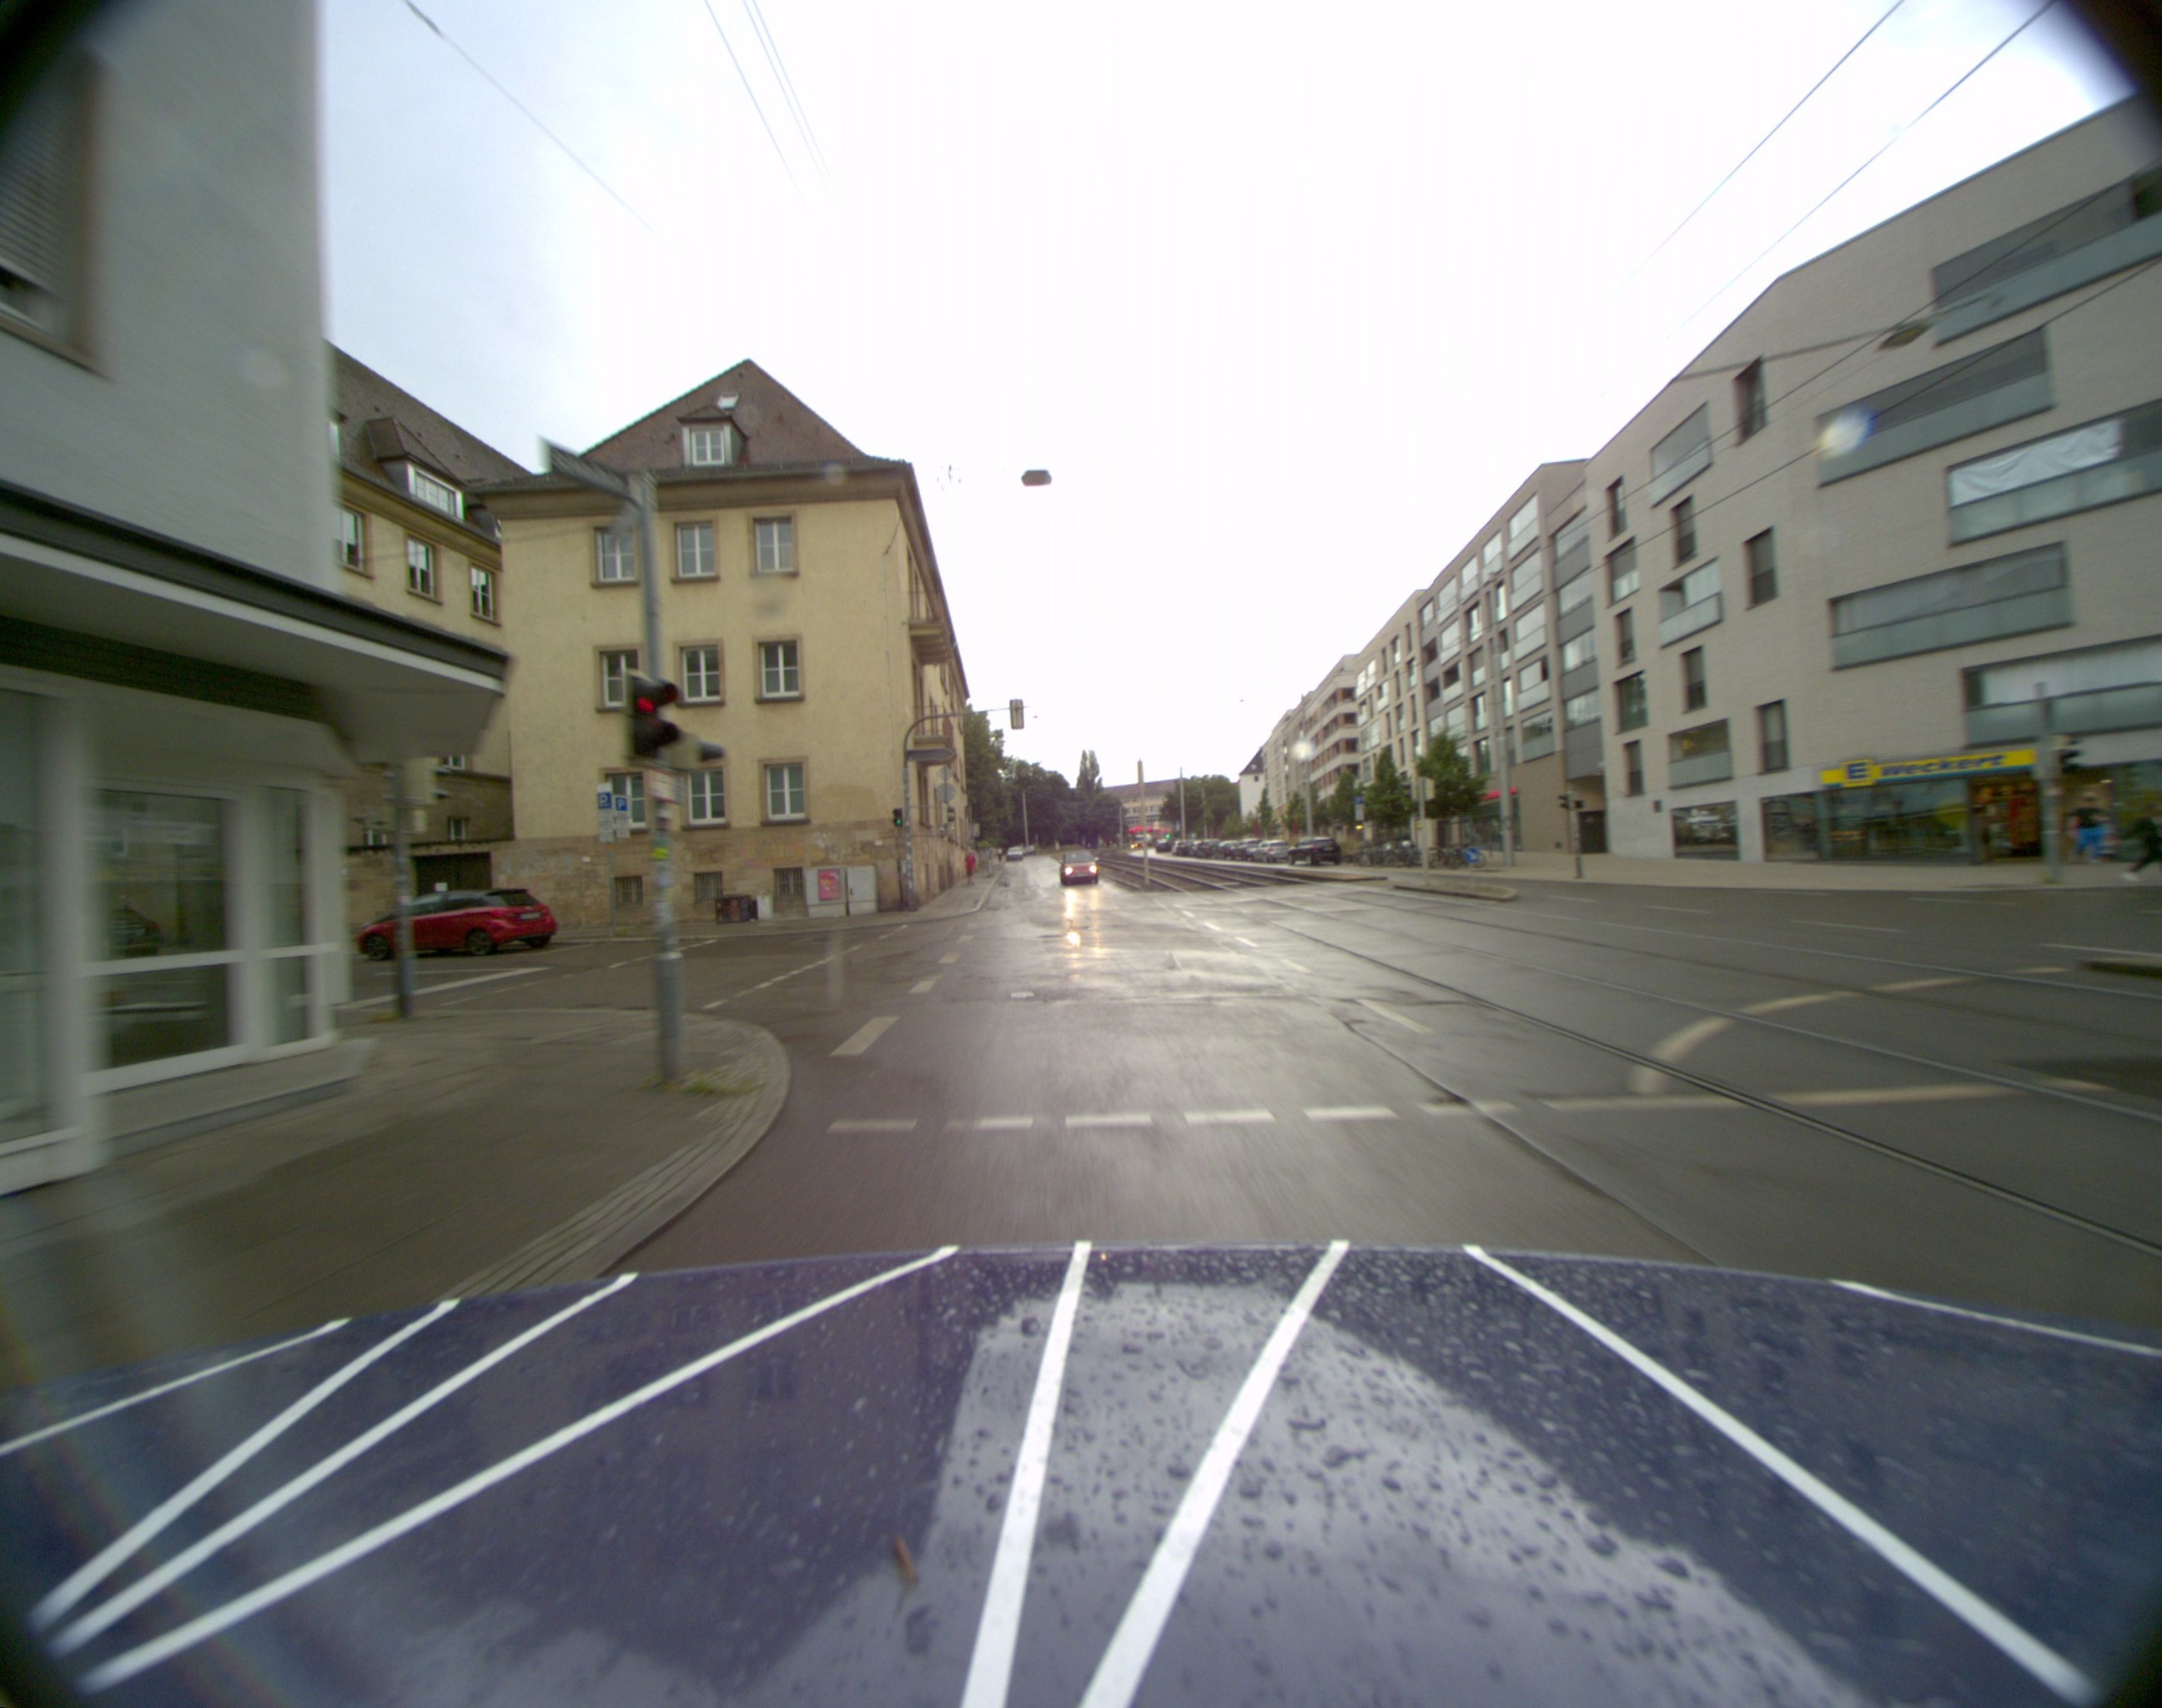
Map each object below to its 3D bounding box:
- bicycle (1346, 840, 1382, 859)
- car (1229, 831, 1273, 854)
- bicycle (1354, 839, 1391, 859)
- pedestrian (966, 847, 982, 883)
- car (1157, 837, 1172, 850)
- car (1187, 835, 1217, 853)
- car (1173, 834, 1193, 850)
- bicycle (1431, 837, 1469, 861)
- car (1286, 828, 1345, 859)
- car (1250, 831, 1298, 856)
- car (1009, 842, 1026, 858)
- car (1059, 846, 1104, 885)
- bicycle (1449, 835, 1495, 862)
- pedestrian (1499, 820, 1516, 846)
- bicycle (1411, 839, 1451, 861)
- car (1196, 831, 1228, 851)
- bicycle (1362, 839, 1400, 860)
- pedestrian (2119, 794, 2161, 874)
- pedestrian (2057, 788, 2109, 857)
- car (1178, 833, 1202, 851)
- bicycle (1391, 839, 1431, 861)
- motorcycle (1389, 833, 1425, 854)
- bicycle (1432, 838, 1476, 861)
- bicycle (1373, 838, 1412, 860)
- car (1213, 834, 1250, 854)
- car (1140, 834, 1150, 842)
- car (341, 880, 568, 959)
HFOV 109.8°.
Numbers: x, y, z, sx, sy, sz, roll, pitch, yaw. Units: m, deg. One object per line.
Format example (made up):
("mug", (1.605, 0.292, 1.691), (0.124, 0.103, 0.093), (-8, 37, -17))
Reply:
("bicycle", (14.927, -0.243, 40.135), (1.789, 0.913, 0.387), (-4, 3, -9))
("car", (12.407, -0.865, 55.714), (1.685, 1.521, 4.045), (-5, 2, -9))
("bicycle", (15.076, -0.250, 39.292), (1.789, 0.913, 0.387), (-4, 3, -9))
("pedestrian", (-5.356, 0.533, 38.046), (0.749, 1.754, 0.818), (0, 2, -5))
("car", (10.941, -1.416, 99.620), (1.654, 1.456, 3.669), (-5, 3, 4))
("car", (11.161, -0.980, 70.378), (1.685, 1.496, 3.925), (-5, 2, -5))
("car", (10.775, -1.305, 80.553), (1.650, 1.496, 3.779), (-4, 2, 1))
("bicycle", (16.691, -0.229, 34.320), (1.791, 0.913, 0.386), (-5, 3, -21))
("car", (13.531, -0.665, 44.136), (1.685, 1.595, 4.326), (-5, 2, -5))
("car", (12.812, -0.725, 50.782), (1.685, 1.456, 4.326), (-5, 2, -5))
("car", (-7.568, -0.516, 90.406), (1.726, 1.677, 3.863), (-6, 3, -5))
("car", (-0.029, 0.487, 35.202), (1.594, 1.456, 3.667), (-6, 3, -5))
("bicycle", (16.629, -0.249, 32.343), (1.789, 0.975, 0.440), (-5, 3, -9))
("pedestrian", (24.959, -1.222, 44.438), (0.540, 1.441, 0.803), (-5, 3, 8))
("bicycle", (16.260, -0.171, 35.280), (1.790, 0.912, 0.387), (-4, 2, -13))
("car", (11.257, -1.130, 65.547), (1.685, 1.555, 3.925), (-5, 2, -5))
("bicycle", (15.076, -0.237, 38.200), (1.789, 0.913, 0.387), (-4, 3, -9))
("pedestrian", (21.617, -0.411, 15.296), (0.649, 1.560, 0.775), (-7, 3, -32))
("pedestrian", (25.619, -0.791, 19.433), (0.706, 1.701, 0.584), (-5, 3, -18))
("car", (10.767, -1.215, 75.240), (1.684, 1.496, 4.403), (-4, 2, 0))
("bicycle", (15.693, -0.207, 36.110), (1.789, 0.913, 0.387), (-5, 3, -9))
("motorcycle", (17.643, -0.568, 41.157), (1.764, 1.037, 0.542), (-3, 4, -8))
("bicycle", (16.432, -0.192, 33.492), (1.789, 0.871, 0.387), (-5, 3, -6))
("bicycle", (15.313, -0.252, 37.317), (1.789, 0.913, 0.387), (-4, 3, -9))
("car", (11.929, -0.829, 60.440), (1.685, 1.373, 4.030), (-5, 2, -5))
("car", (15.060, -3.852, 178.487), (1.667, 1.598, 3.809), (-5, 3, 11))
("car", (-14.309, 1.477, 17.472), (3.857, 1.511, 1.766), (-2, 3, 7))
